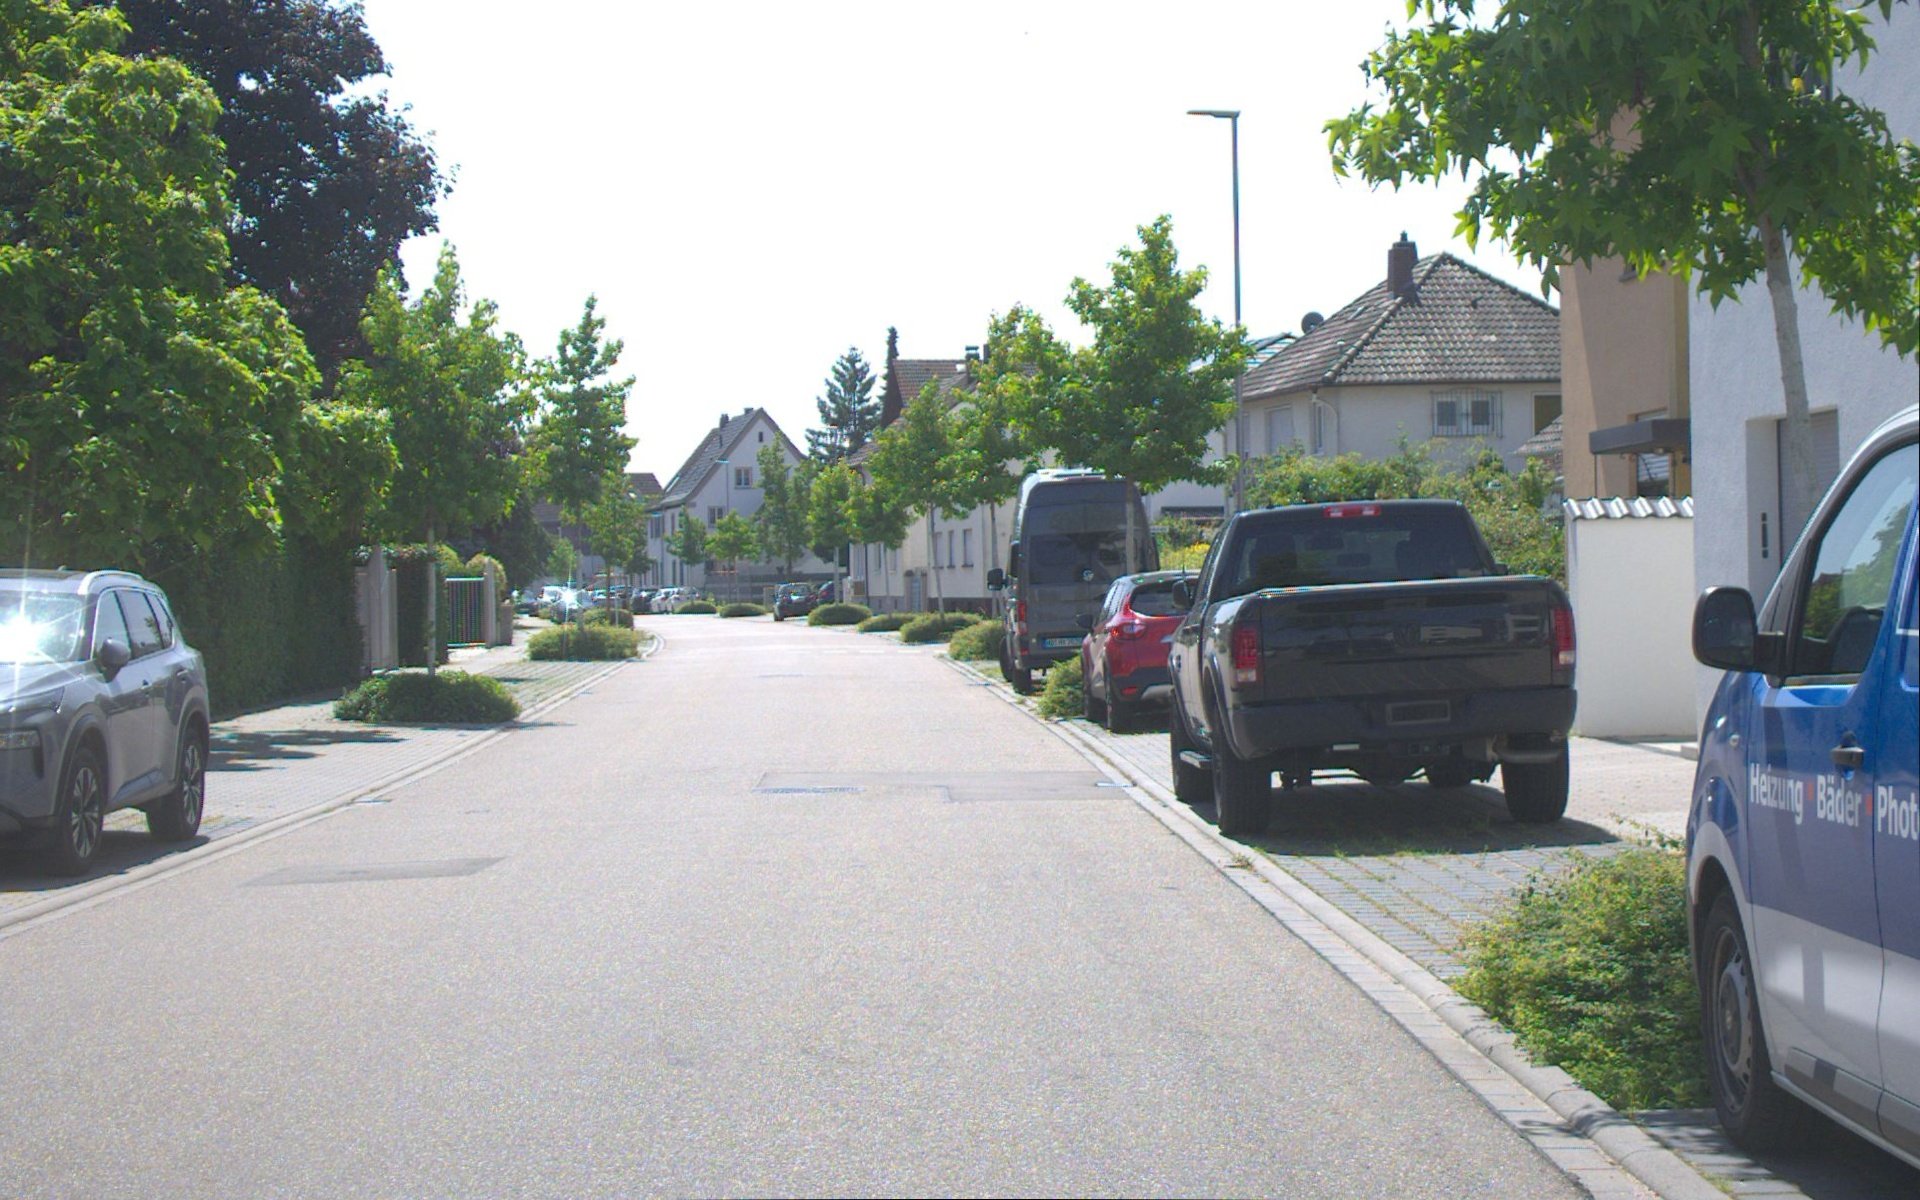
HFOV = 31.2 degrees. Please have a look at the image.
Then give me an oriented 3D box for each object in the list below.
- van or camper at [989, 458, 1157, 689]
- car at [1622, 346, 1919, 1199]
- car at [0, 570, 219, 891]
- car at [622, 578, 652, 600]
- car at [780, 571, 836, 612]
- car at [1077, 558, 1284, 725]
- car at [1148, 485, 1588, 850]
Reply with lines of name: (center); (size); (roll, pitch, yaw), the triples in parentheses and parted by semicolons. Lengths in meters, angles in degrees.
van or camper: (1.475, -0.362, 46.348); (1.993, 2.931, 4.000); (-1, 1, -1)
car: (2.897, 0.426, 7.067); (2.099, 1.875, 4.843); (-1, 1, 0)
car: (-5.778, 0.684, 20.128); (1.993, 1.674, 4.214); (-1, 1, -1)
car: (-18.863, -0.653, 200.795); (1.663, 1.246, 3.932); (-1, 0, -6)
car: (-6.239, -0.362, 140.407); (1.993, 1.568, 4.001); (-1, 1, -6)
car: (2.224, 0.396, 35.504); (1.670, 1.590, 3.556); (-2, 0, -3)
car: (2.394, 0.347, 21.568); (1.993, 1.940, 5.215); (-2, 1, -1)
